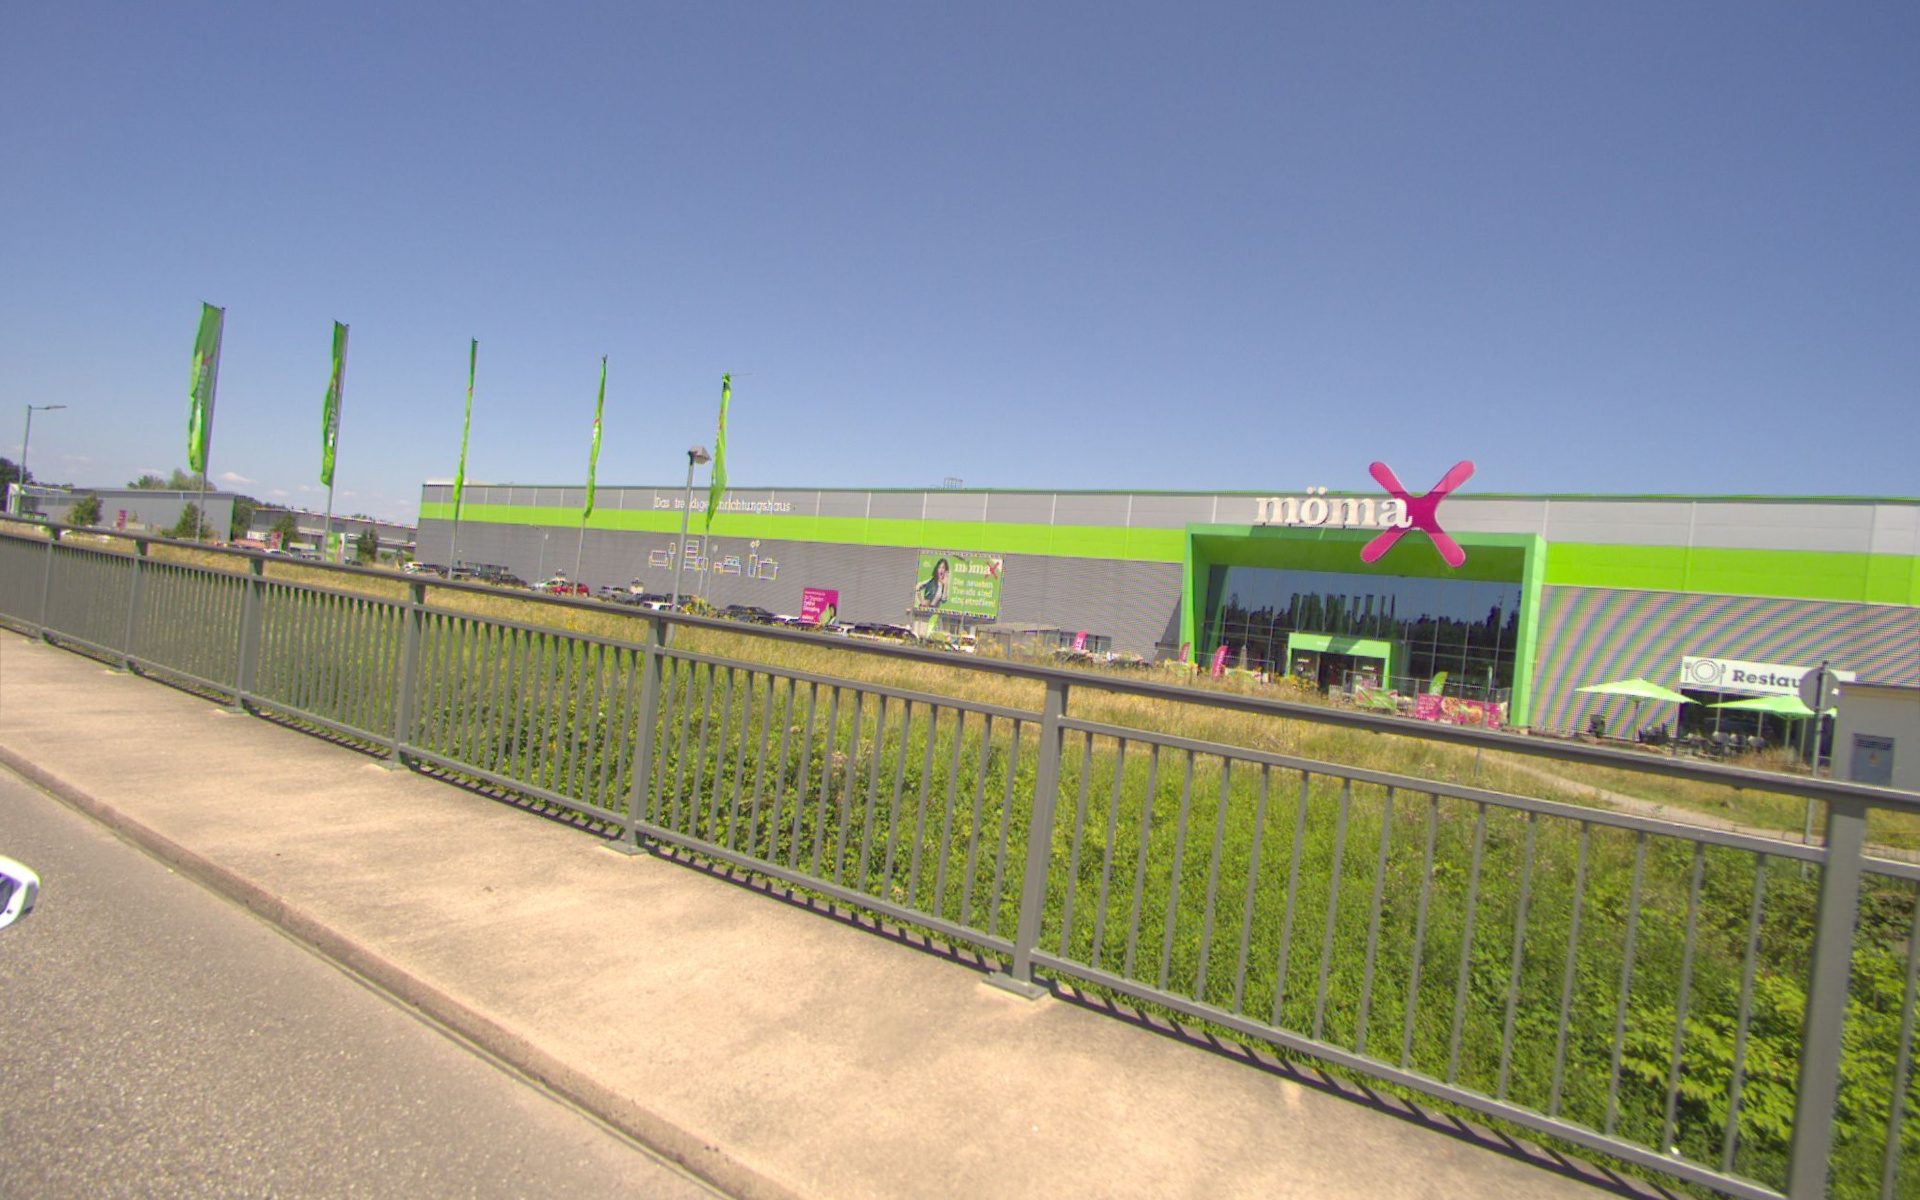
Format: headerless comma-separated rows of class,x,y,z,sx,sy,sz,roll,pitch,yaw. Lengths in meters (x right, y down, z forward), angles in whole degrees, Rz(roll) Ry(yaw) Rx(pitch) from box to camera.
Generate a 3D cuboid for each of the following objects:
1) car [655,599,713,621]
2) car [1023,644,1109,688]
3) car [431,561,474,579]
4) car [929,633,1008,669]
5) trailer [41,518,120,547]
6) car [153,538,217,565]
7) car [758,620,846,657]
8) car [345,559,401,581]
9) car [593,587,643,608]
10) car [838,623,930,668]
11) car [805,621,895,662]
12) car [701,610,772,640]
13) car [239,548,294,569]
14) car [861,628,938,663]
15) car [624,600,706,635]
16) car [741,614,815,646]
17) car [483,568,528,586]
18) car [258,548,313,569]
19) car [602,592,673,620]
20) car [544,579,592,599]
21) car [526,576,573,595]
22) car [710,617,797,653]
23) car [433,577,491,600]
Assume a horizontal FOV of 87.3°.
car,-23.966,0.886,87.648,1.968,1.537,4.656,4,-2,33
car,4.845,3.013,45.614,1.888,1.674,3.983,4,-2,39
car,-59.219,-3.485,117.416,1.968,1.537,3.991,4,-2,33
car,0.451,2.650,51.843,1.920,1.523,3.983,4,-2,39
trailer,-63.764,-4.886,72.977,1.738,1.414,3.988,6,-3,38
car,-63.996,-4.007,83.084,1.863,1.588,3.734,6,-2,39
car,-7.760,1.908,49.687,1.888,1.479,3.983,4,-2,39
car,-55.001,-2.826,94.370,1.968,1.537,3.991,4,-2,33
car,-32.290,-0.184,94.981,1.968,1.537,3.991,4,-2,33
car,-3.416,2.079,45.859,1.888,1.717,3.983,4,-2,39
car,-5.210,1.995,47.851,1.888,1.566,3.983,4,-2,39
car,-14.000,1.578,63.156,1.920,1.523,3.983,4,-2,39
car,-68.581,-4.073,99.527,1.971,1.537,3.986,4,-3,38
car,-3.254,2.480,54.546,1.920,1.523,3.983,4,-2,39
car,-16.640,1.009,56.916,1.920,1.549,3.983,4,-2,39
car,-10.831,1.800,60.166,1.920,1.523,3.983,4,-2,39
car,-49.712,-2.489,110.042,1.969,1.537,3.989,4,-3,35
car,-65.267,-3.966,97.359,1.971,1.537,3.986,4,-3,38
car,-22.809,0.471,71.290,1.972,1.537,4.404,4,-3,39
car,-39.395,-1.096,101.072,1.968,1.537,3.991,4,-2,33
car,-41.939,-1.443,102.814,1.968,1.492,3.991,4,-2,33
car,-10.506,1.795,51.387,1.920,1.479,3.983,4,-2,39
car,-43.334,-1.022,87.663,1.969,1.537,3.990,4,-2,34
